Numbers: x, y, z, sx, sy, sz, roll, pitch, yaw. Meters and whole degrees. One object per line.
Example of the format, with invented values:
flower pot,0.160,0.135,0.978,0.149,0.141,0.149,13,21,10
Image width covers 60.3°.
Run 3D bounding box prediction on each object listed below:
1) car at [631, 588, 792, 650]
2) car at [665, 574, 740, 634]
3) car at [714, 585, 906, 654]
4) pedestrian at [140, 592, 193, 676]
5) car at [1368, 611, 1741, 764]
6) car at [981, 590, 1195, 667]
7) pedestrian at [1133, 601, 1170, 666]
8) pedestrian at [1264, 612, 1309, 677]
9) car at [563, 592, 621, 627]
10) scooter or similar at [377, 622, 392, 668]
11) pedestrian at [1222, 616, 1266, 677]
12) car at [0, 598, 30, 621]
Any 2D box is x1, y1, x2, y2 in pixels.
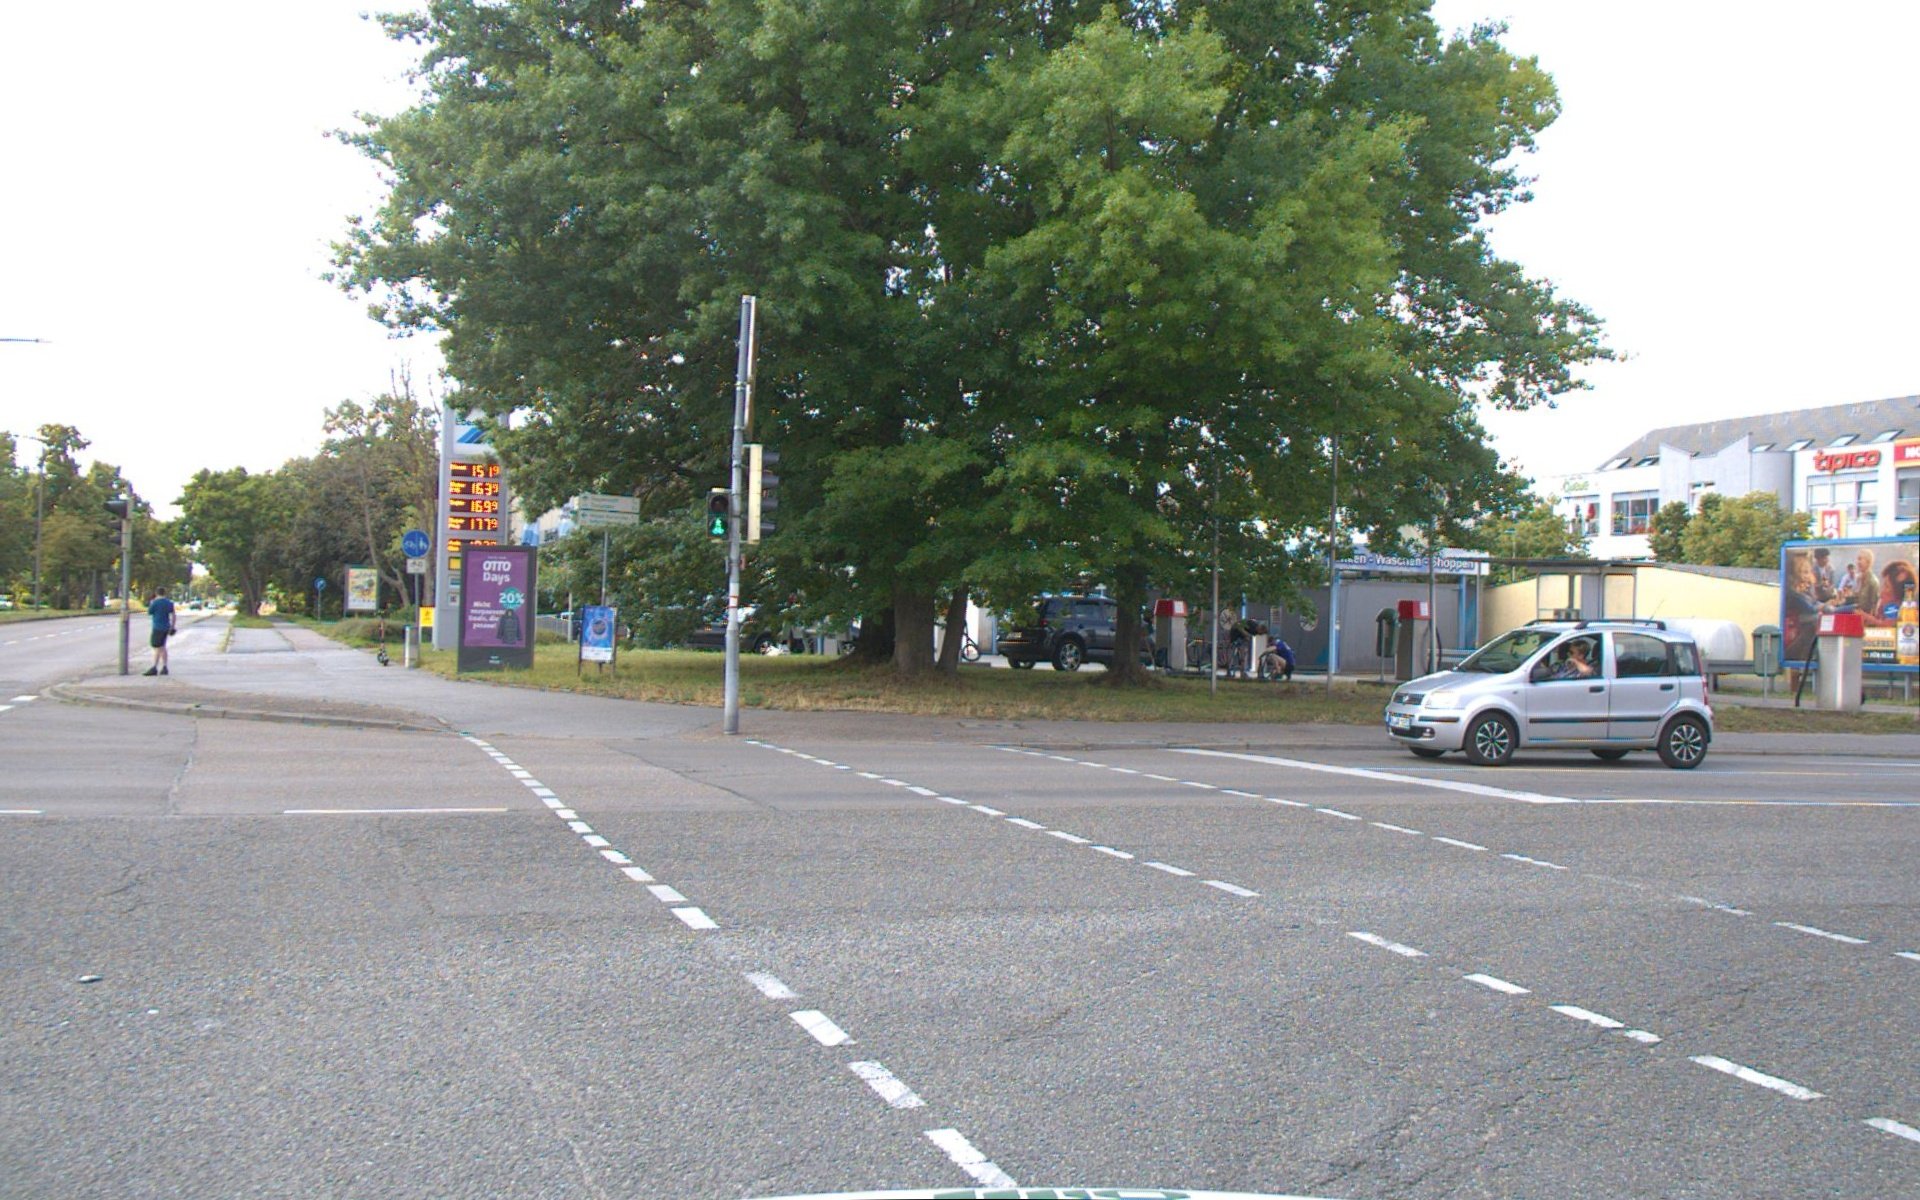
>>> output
car,-8.622,0.674,57.477,5.120,2.039,2.134,2,-1,-28
car,-11.494,0.193,73.432,1.728,2.497,5.704,2,-1,-25
car,-4.267,0.576,47.510,5.136,1.859,2.128,2,-1,-35
pedestrian,-15.037,0.636,31.329,0.720,1.558,0.749,2,-1,-40
car,6.441,0.936,18.038,3.533,1.544,1.555,2,-1,-11
car,2.906,0.655,37.322,4.510,1.624,2.128,2,-1,-35
pedestrian,4.562,0.795,39.465,0.555,1.521,0.613,4,-3,-31
pedestrian,6.702,0.916,33.945,0.748,1.277,0.645,2,-3,22
car,-16.542,0.420,74.273,1.728,1.479,3.711,1,-1,-25
scooter or similar,-12.812,0.994,36.827,0.218,0.997,1.263,1,-1,-23
pedestrian,5.882,0.967,34.233,0.748,1.211,0.645,2,-3,22
car,-74.133,0.768,129.687,1.837,1.735,4.419,1,-1,-26
